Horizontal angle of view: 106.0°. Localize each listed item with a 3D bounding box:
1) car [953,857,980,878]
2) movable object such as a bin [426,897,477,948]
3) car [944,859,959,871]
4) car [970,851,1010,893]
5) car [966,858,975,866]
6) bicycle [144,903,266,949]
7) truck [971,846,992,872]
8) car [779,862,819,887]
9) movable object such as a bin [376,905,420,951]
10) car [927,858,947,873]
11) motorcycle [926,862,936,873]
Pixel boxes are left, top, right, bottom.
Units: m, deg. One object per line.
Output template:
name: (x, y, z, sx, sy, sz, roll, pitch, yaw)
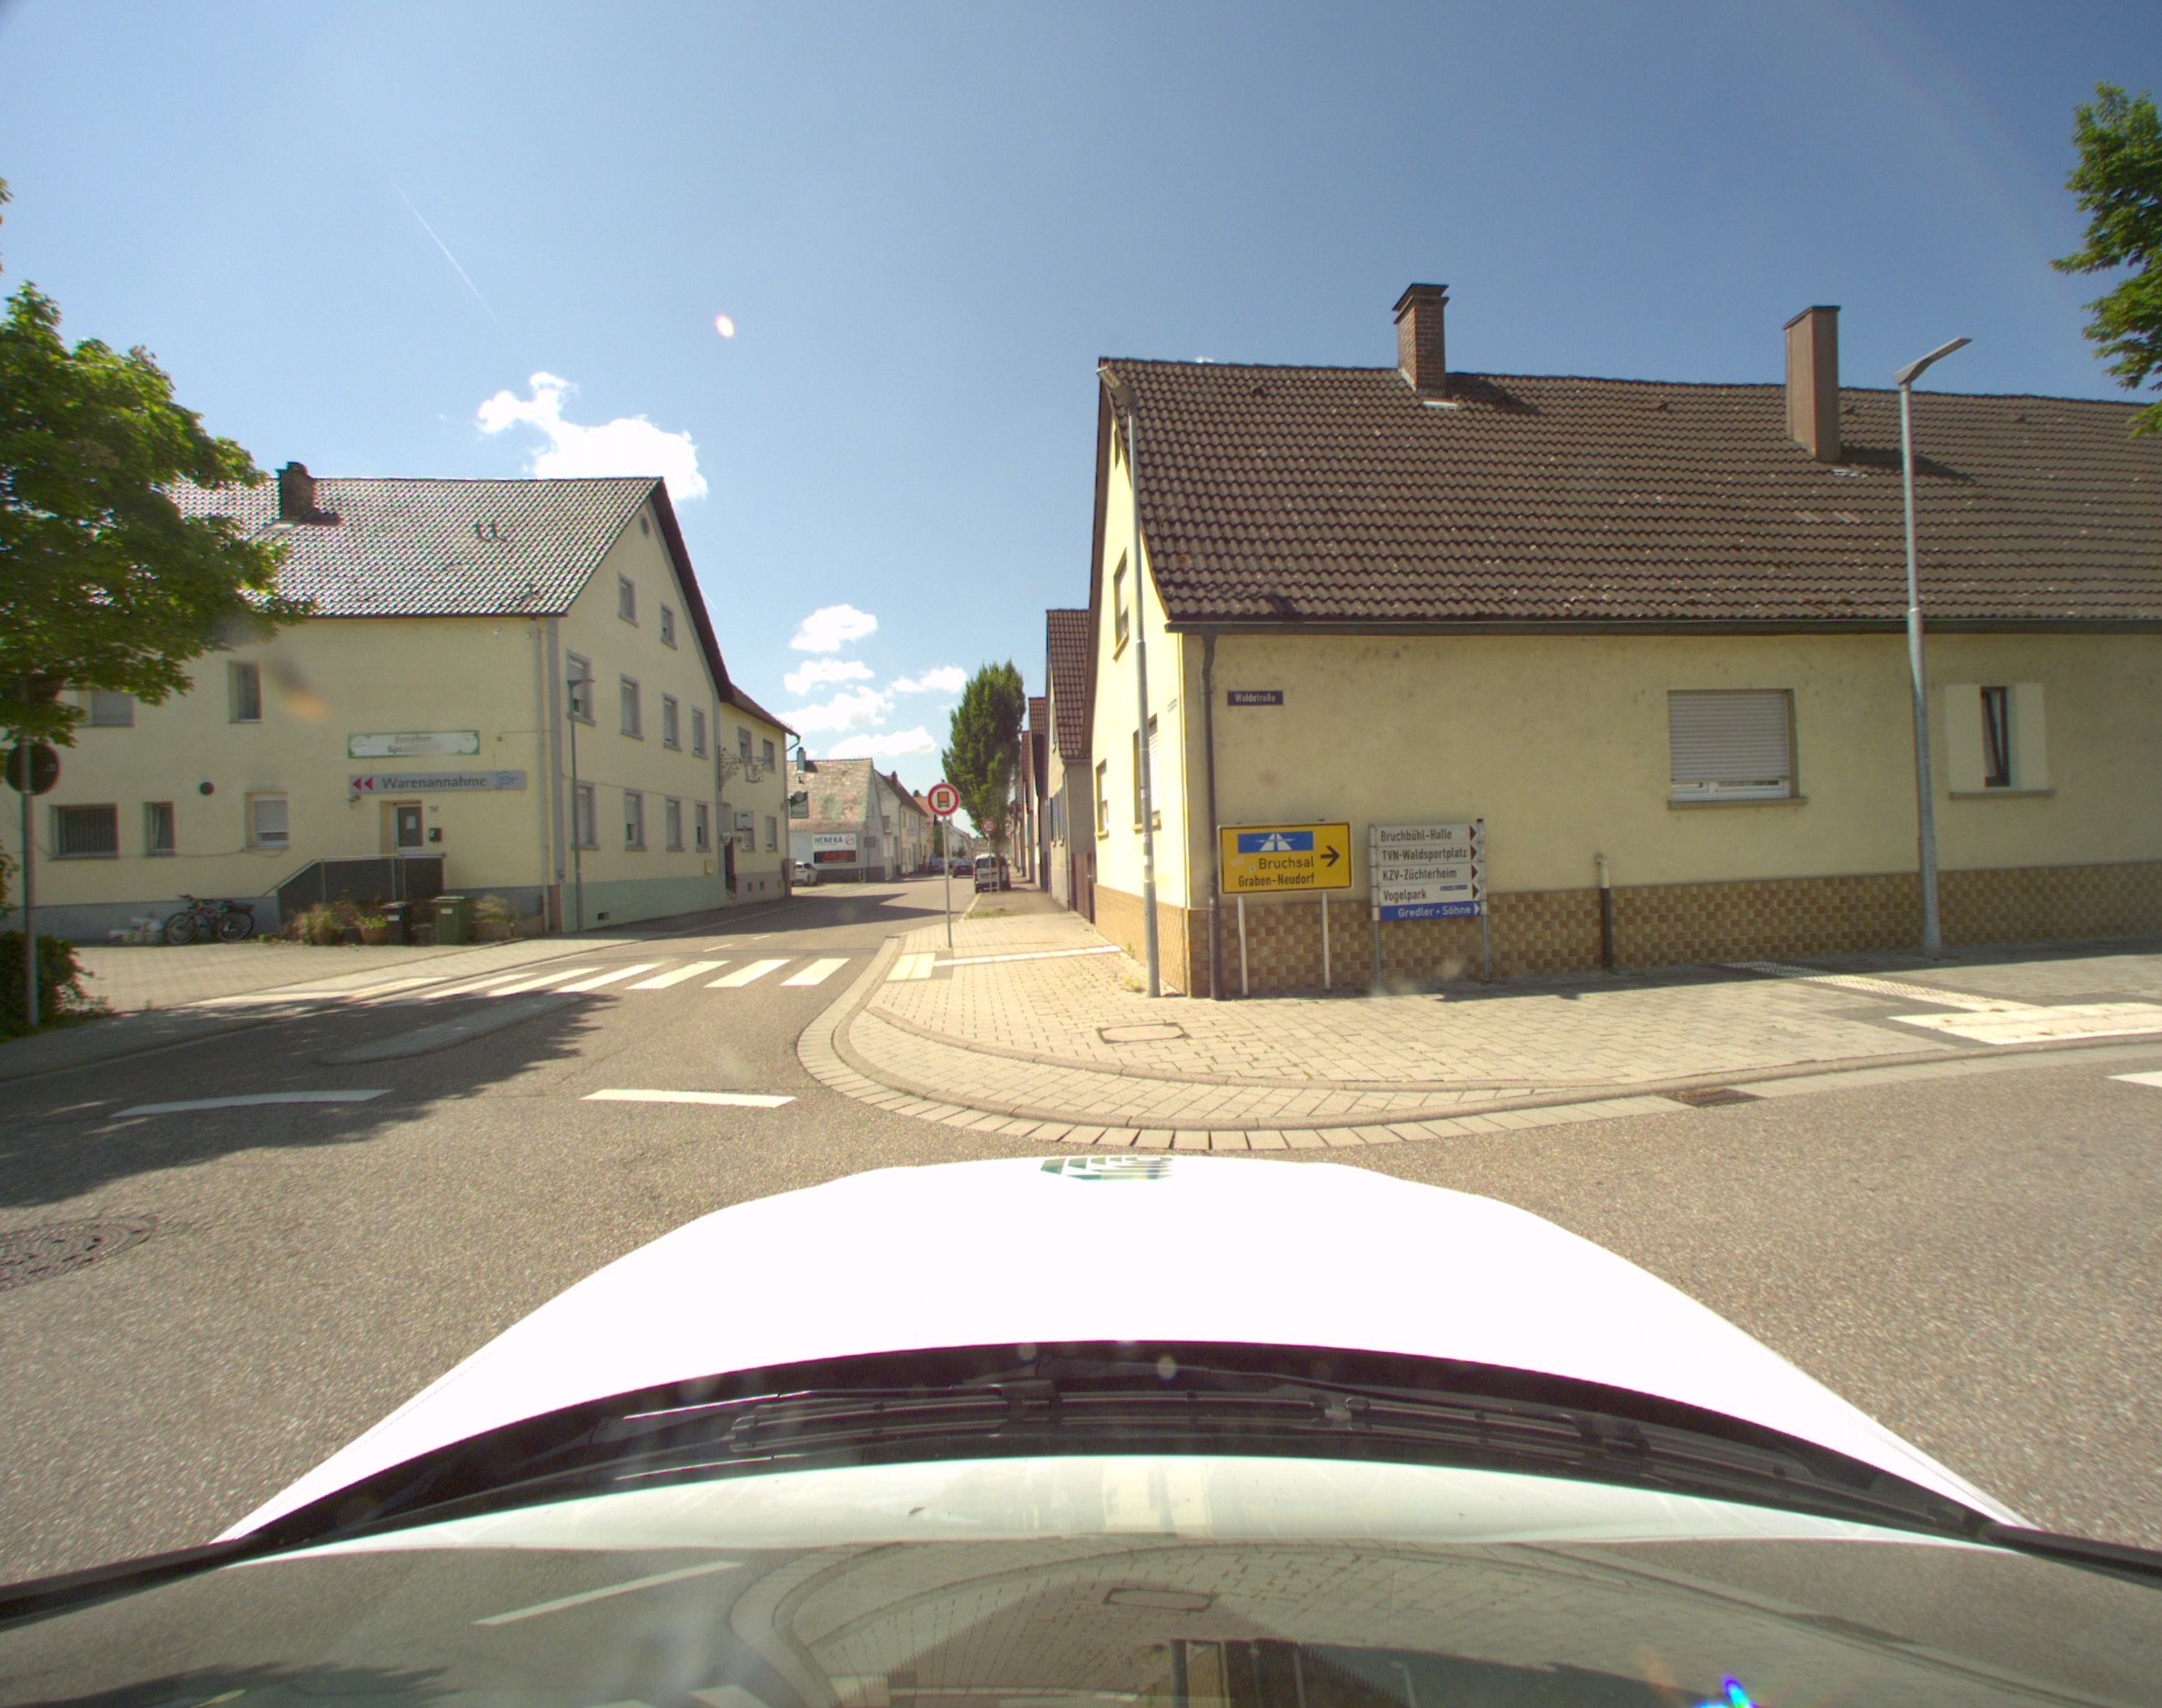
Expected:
car: (-9.364, 1.096, 66.787, 1.899, 1.563, 4.469, -2, 0, -5)
movable object such as a bin: (-14.099, 1.523, 18.253, 0.598, 1.078, 0.657, -2, 0, -4)
car: (-18.165, 1.534, 114.210, 1.807, 1.589, 3.991, -2, 0, -6)
car: (-4.431, 0.832, 39.495, 1.718, 1.790, 4.133, -4, 0, -7)
car: (-25.011, 1.800, 184.006, 1.807, 1.589, 3.991, -2, 0, -6)
bicycle: (-20.308, 1.654, 18.892, 2.163, 0.913, 0.542, -3, 0, -1)
truck: (-16.712, 0.817, 137.366, 3.139, 4.250, 9.287, 0, -1, -4)
car: (-18.813, 1.328, 54.517, 1.718, 1.556, 4.188, -1, 0, -7)
movable object such as a bin: (-15.120, 1.632, 18.037, 0.478, 0.928, 0.546, -2, 0, -4)
car: (-15.809, 1.245, 89.557, 1.807, 1.589, 3.991, -2, 0, -6)
motorcycle: (-15.769, 1.425, 85.695, 0.845, 1.170, 2.463, 0, -1, -7)
